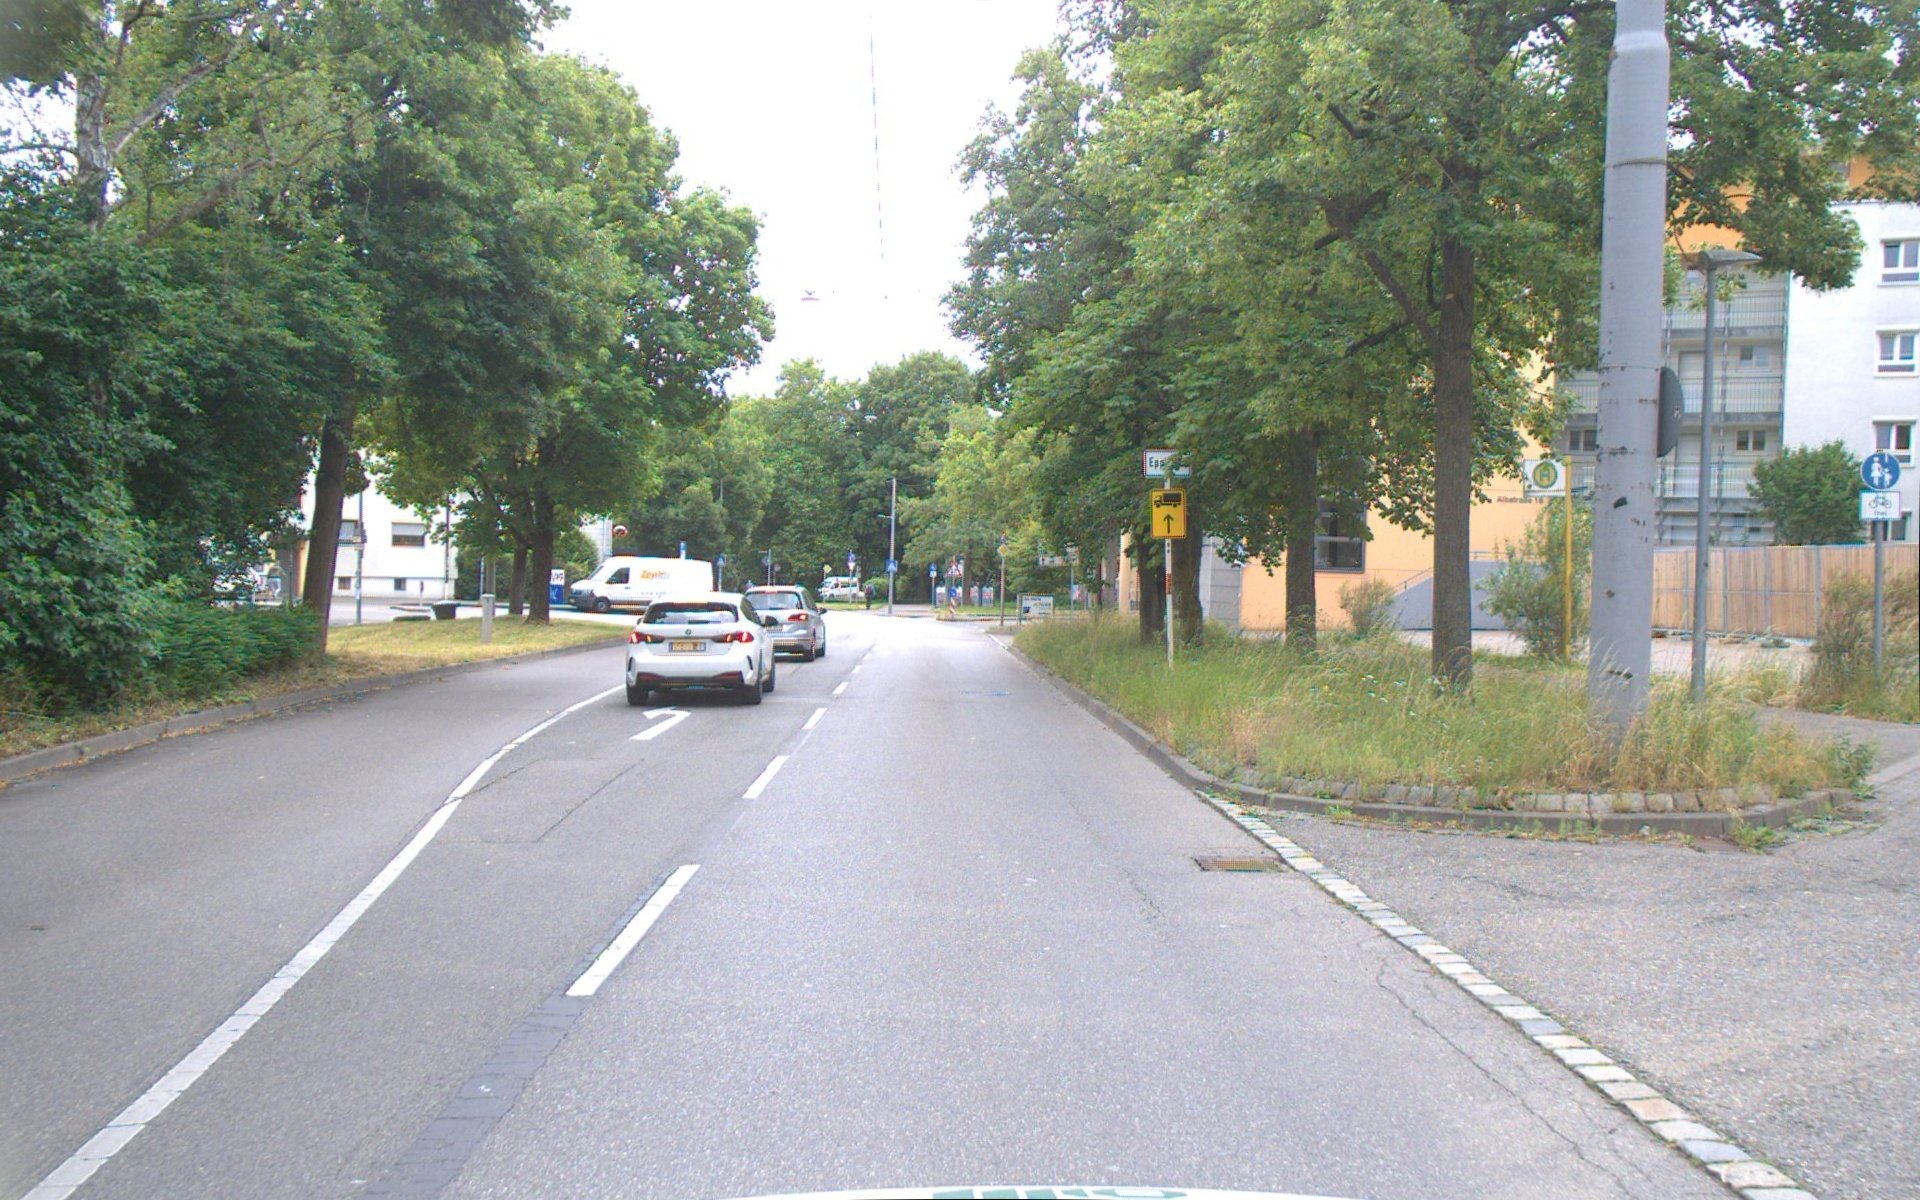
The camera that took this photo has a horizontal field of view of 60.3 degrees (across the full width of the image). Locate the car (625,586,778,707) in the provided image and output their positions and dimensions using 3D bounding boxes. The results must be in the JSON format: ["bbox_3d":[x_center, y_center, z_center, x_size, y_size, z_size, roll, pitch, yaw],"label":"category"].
[{"bbox_3d":[-3.534,0.594,23.264,1.760,1.544,4.204,0,0,-4],"label":"car"}]

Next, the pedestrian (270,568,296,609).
[{"bbox_3d":[-27.315,-0.462,66.733,0.742,1.560,0.706,3,1,-40],"label":"pedestrian"}]

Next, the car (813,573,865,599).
[{"bbox_3d":[-12.164,-1.416,167.080,2.097,2.336,5.362,5,1,37],"label":"car"}]

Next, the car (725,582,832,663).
[{"bbox_3d":[-3.884,0.436,35.959,1.884,1.601,4.000,1,1,-1],"label":"car"}]

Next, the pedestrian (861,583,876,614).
[{"bbox_3d":[-5.988,-0.107,108.331,0.906,1.903,1.018,-2,3,-5],"label":"pedestrian"}]

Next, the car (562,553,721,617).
[{"bbox_3d":[-14.438,-0.672,75.303,6.911,2.565,2.057,2,2,-39],"label":"car"}]

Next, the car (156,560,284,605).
[{"bbox_3d":[-29.107,-0.695,65.133,4.278,1.465,1.697,3,1,-41],"label":"car"}]
